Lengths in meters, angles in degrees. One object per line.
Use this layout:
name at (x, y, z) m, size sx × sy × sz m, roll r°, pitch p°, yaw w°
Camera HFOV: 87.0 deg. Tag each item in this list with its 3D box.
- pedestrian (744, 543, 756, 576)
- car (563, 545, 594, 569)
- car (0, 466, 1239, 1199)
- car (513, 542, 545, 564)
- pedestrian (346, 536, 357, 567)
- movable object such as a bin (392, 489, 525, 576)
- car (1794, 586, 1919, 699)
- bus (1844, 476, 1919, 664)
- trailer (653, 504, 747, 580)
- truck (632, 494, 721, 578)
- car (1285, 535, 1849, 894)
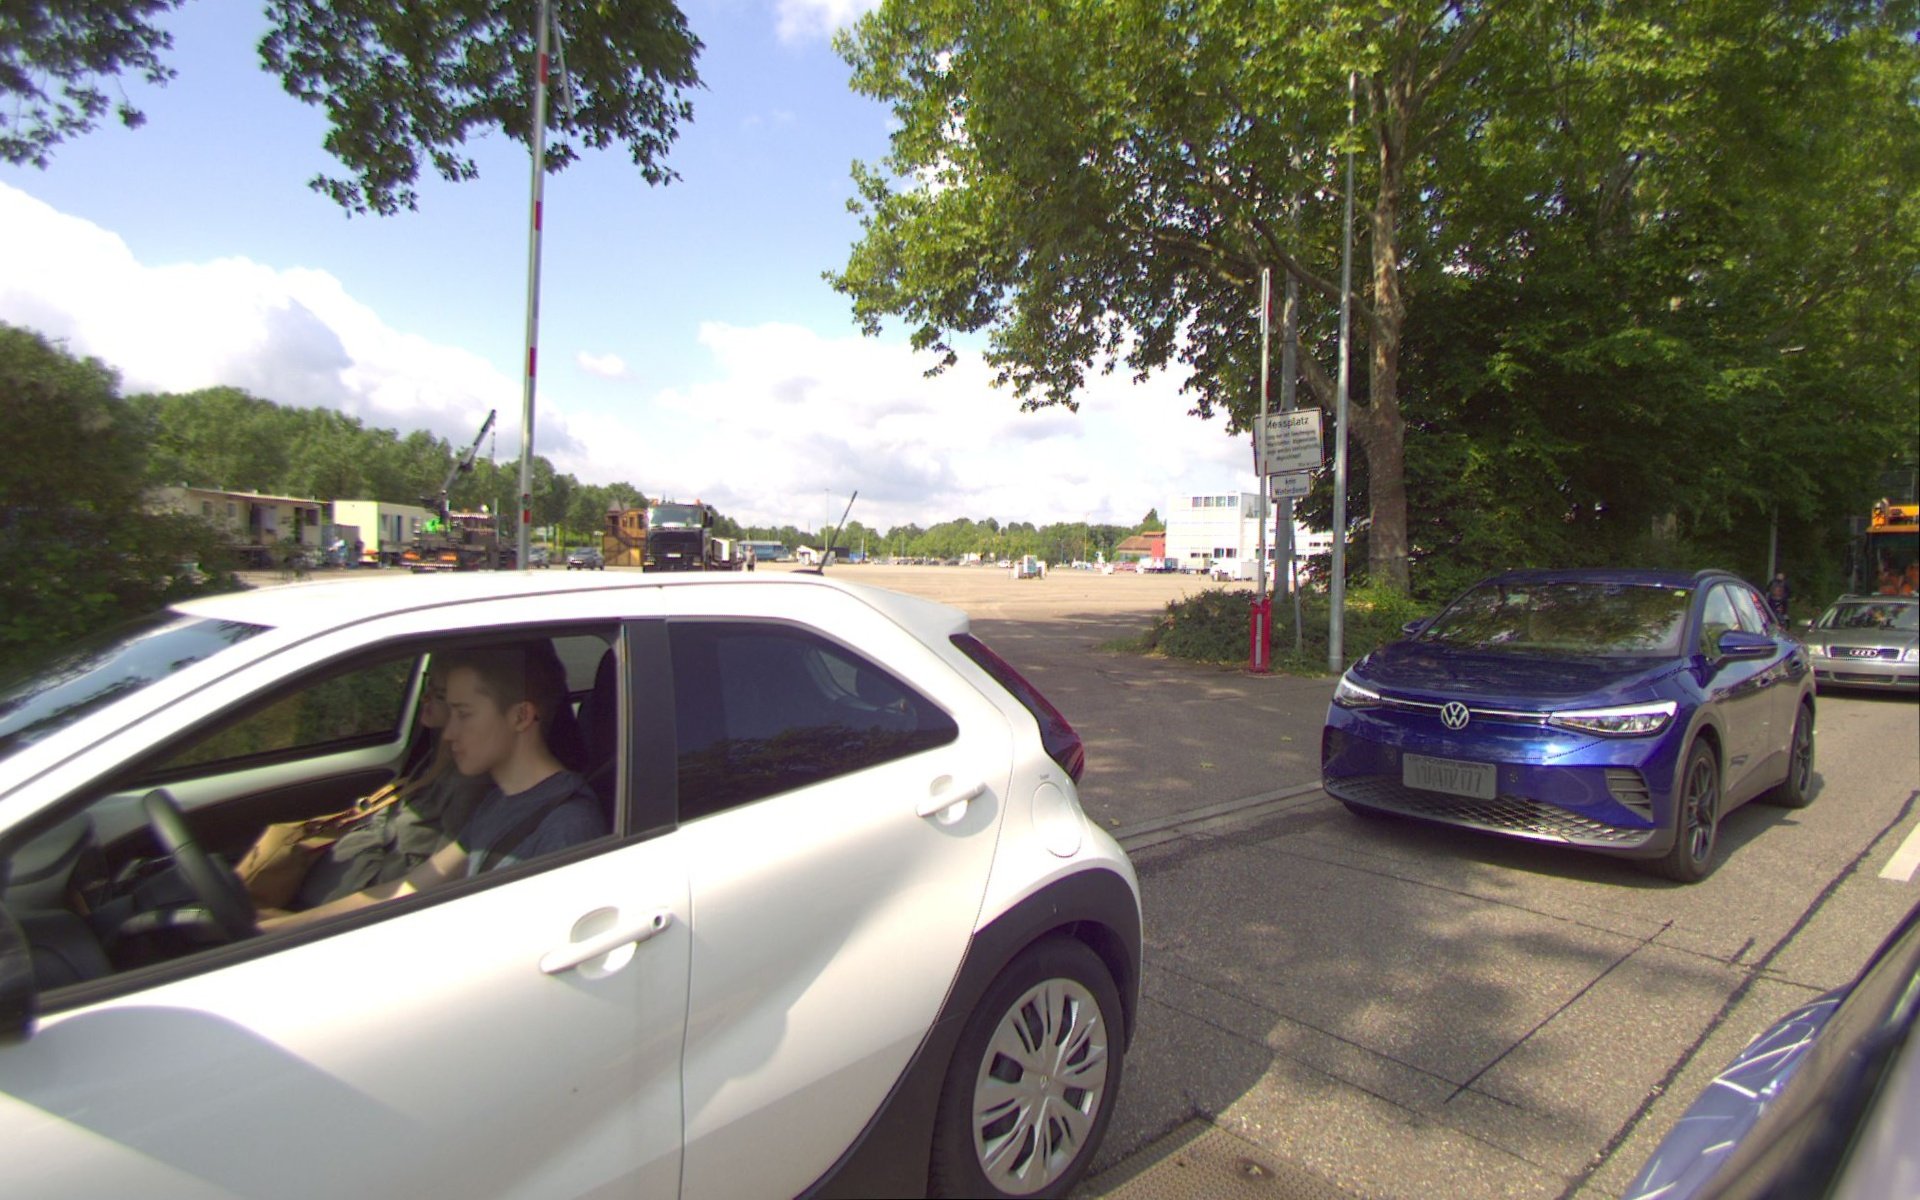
pedestrian at (-11.243, -2.168, 54.206) m, size 0.535 × 1.769 × 0.521 m, roll 1°, pitch 1°, yaw -8°
car at (-25.577, -2.862, 67.908) m, size 1.463 × 1.438 × 3.491 m, roll 0°, pitch 0°, yaw -13°
car at (-1.171, 0.597, 2.150) m, size 3.735 × 1.498 × 1.746 m, roll 0°, pitch 0°, yaw -44°
car at (-29.040, -3.117, 68.267) m, size 1.341 × 1.353 × 3.491 m, roll 0°, pitch 0°, yaw -13°
pedestrian at (-33.136, -2.644, 55.085) m, size 0.254 × 1.705 × 0.425 m, roll 0°, pitch 0°, yaw 31°
movable object such as a bin at (-21.822, -2.870, 44.566) m, size 2.663 × 3.414 × 7.436 m, roll 2°, pitch 2°, yaw -5°
car at (13.794, 0.534, 14.852) m, size 3.930 × 1.482 × 1.770 m, roll -1°, pitch 0°, yaw -41°
bus at (21.921, -0.622, 21.956) m, size 10.213 × 3.509 × 2.742 m, roll -1°, pitch 1°, yaw -41°
trailer at (-12.367, -2.714, 49.193) m, size 2.714 × 3.196 × 12.032 m, roll 1°, pitch 2°, yaw -6°
truck at (-11.540, -2.563, 41.622) m, size 2.714 × 3.196 × 5.236 m, roll 1°, pitch 2°, yaw -6°
car at (4.222, 0.504, 6.686) m, size 4.500 × 1.595 × 1.890 m, roll 0°, pitch 0°, yaw -41°
